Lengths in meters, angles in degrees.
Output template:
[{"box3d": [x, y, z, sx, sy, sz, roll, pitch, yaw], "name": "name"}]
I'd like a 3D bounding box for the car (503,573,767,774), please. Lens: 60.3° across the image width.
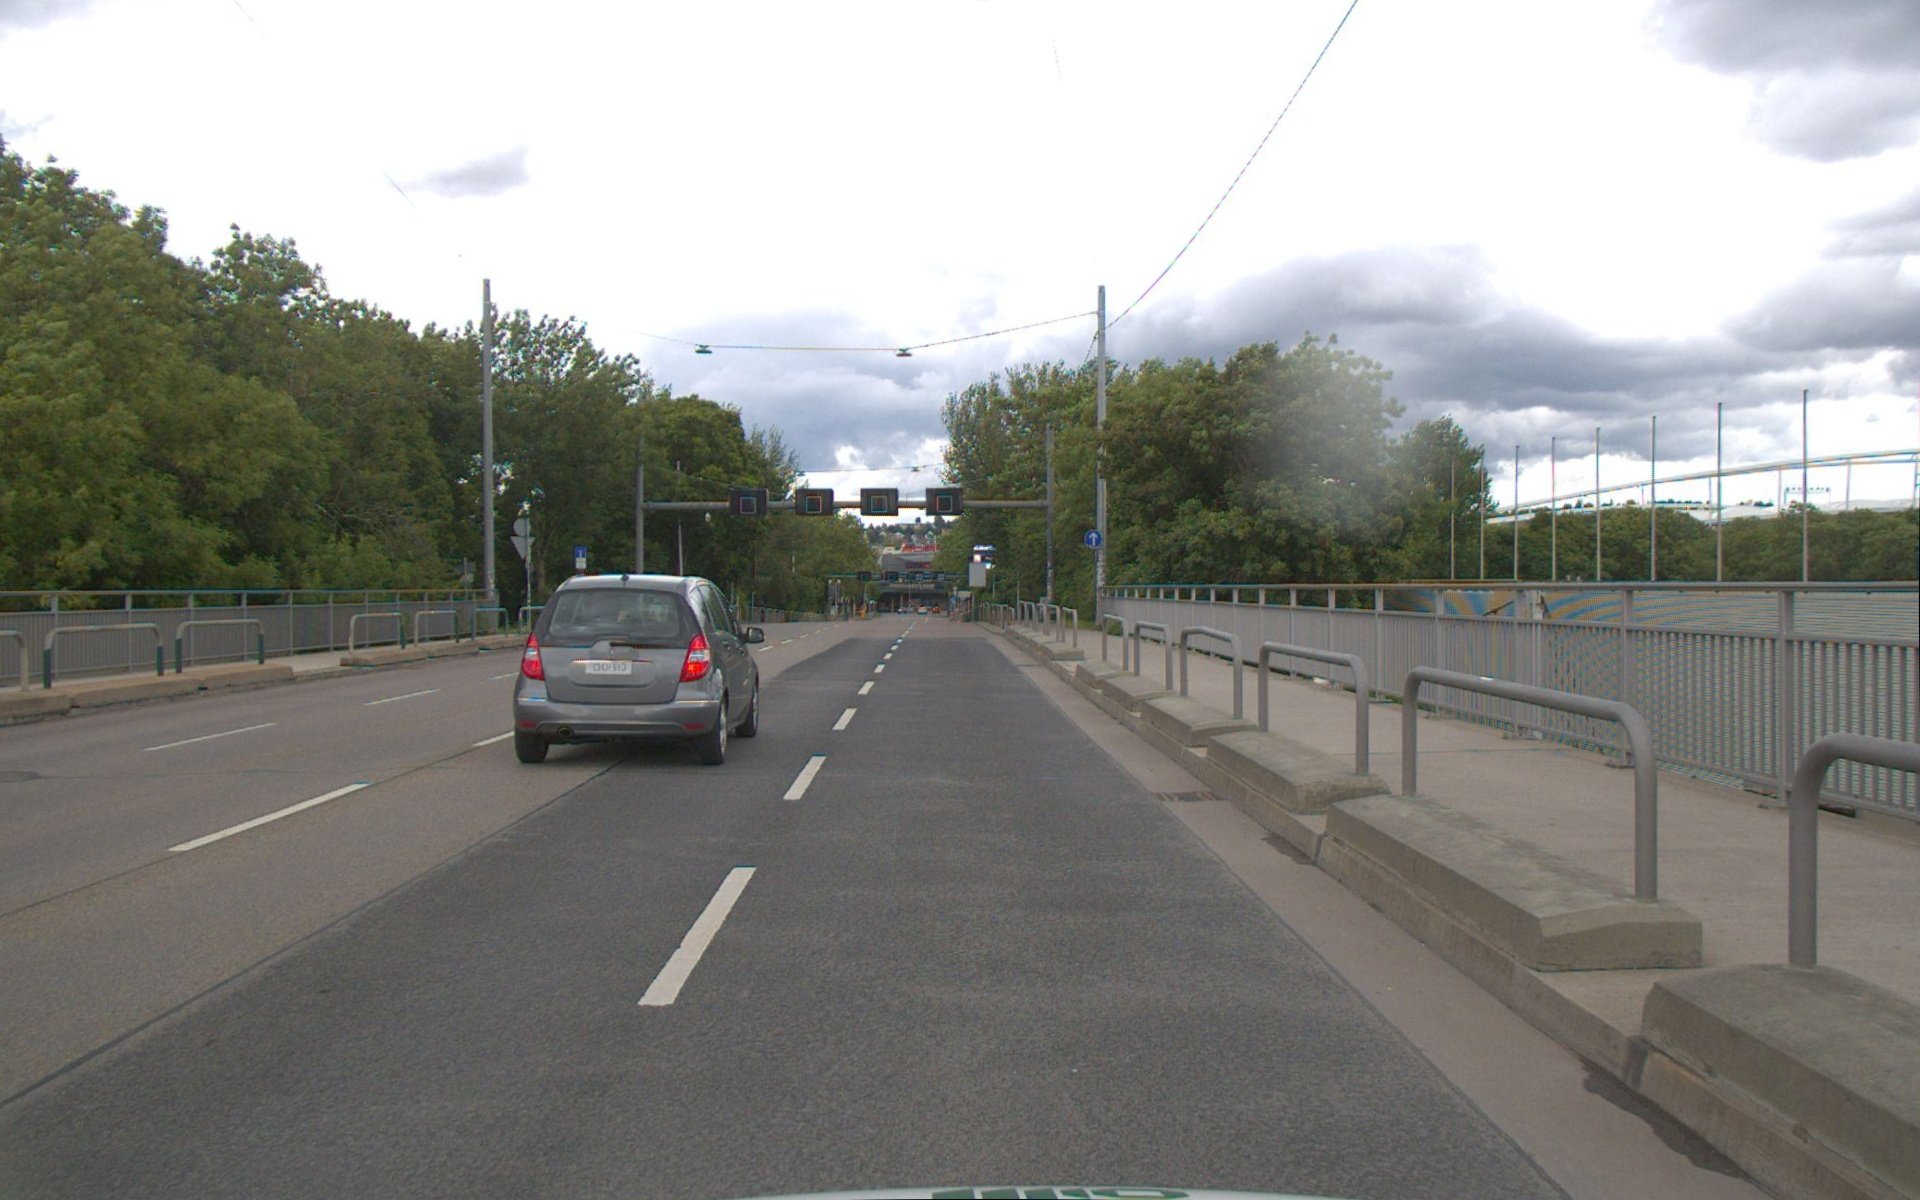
[{"box3d": [-2.800, 0.551, 15.028, 1.710, 1.577, 3.870, 0, 1, -1], "name": "car"}]
